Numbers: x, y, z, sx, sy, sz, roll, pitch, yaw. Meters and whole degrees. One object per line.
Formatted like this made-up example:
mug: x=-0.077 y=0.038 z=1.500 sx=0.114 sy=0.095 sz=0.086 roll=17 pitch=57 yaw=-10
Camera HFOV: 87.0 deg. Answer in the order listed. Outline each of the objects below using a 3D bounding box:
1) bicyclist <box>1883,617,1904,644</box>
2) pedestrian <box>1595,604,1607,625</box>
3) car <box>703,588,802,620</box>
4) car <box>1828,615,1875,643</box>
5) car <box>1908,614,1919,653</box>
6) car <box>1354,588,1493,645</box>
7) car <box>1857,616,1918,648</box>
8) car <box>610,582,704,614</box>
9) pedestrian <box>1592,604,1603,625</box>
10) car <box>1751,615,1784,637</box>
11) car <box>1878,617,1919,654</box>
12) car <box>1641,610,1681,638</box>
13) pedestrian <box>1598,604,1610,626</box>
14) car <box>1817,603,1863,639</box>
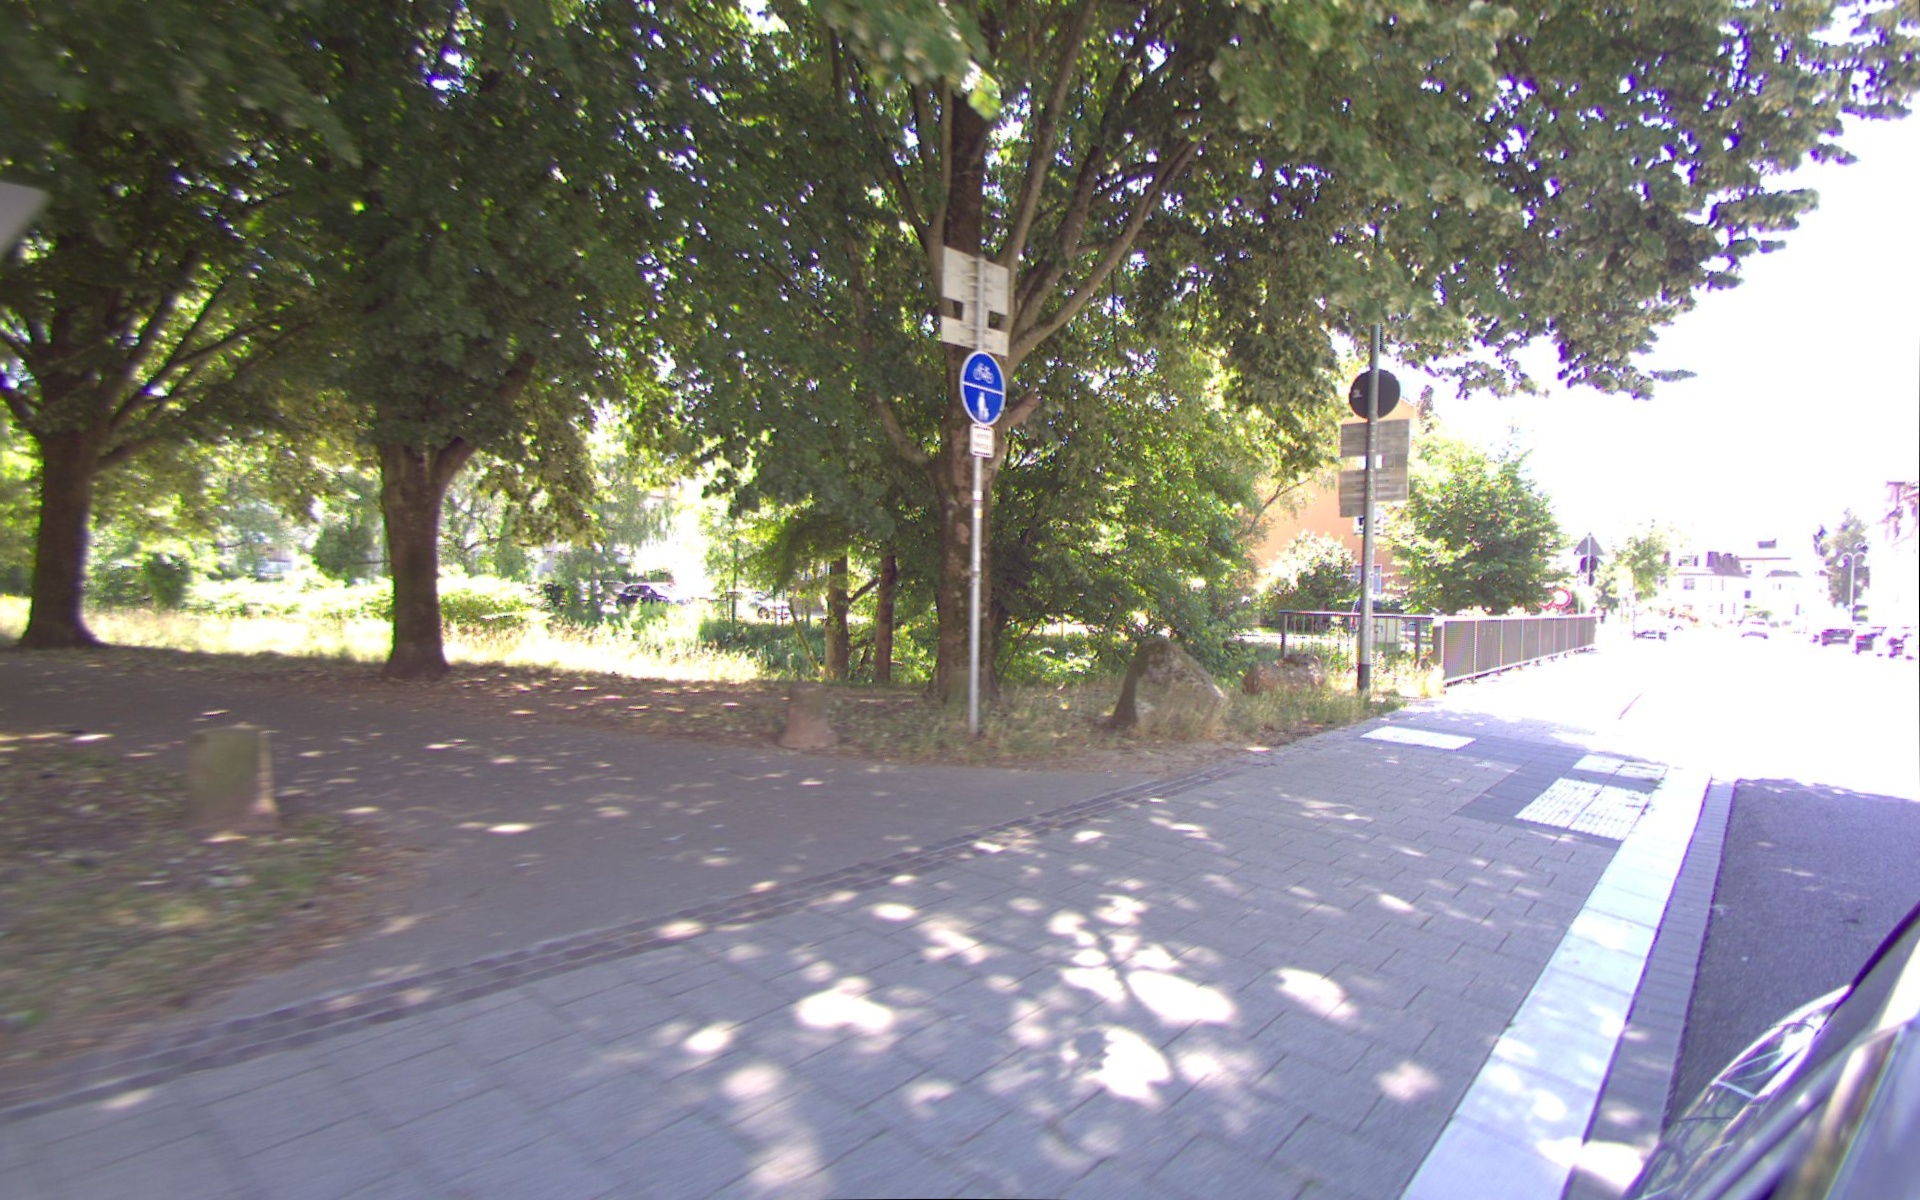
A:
bicyclist: x=59.036 y=1.909 z=64.000 sx=0.779 sy=1.680 sz=0.825 roll=2 pitch=0 yaw=33
pedestrian: x=58.176 y=1.345 z=91.838 sx=0.784 sy=1.833 sz=0.995 roll=4 pitch=2 yaw=31
car: x=-9.923 y=0.176 z=48.295 sx=4.470 sy=1.399 sz=1.891 roll=1 pitch=0 yaw=28
car: x=56.670 y=1.822 z=64.294 sx=2.085 sy=1.635 sz=5.027 roll=0 pitch=-1 yaw=44
car: x=37.649 y=1.283 z=38.308 sx=1.871 sy=1.499 sz=4.678 roll=-1 pitch=-2 yaw=35
car: x=16.013 y=0.535 z=35.051 sx=4.310 sy=1.862 sz=1.733 roll=0 pitch=0 yaw=28
car: x=44.037 y=1.511 z=48.137 sx=1.784 sy=1.478 sz=4.138 roll=-2 pitch=-2 yaw=38
car: x=-15.249 y=-0.092 z=50.902 sx=4.470 sy=1.549 sz=1.981 roll=0 pitch=-1 yaw=27
pedestrian: x=57.843 y=1.325 z=91.871 sx=0.790 sy=1.801 sz=0.997 roll=2 pitch=0 yaw=31
car: x=66.147 y=2.121 z=82.896 sx=1.873 sy=1.616 sz=4.301 roll=4 pitch=1 yaw=37
car: x=40.864 y=1.513 z=43.110 sx=1.857 sy=1.480 sz=5.240 roll=0 pitch=-2 yaw=34
car: x=42.692 y=1.425 z=61.684 sx=1.828 sy=1.522 sz=5.000 roll=4 pitch=2 yaw=34
pedestrian: x=56.782 y=1.323 z=89.225 sx=0.816 sy=1.877 sz=0.973 roll=2 pitch=-1 yaw=31
car: x=63.254 y=1.451 z=72.820 sx=2.114 sy=2.481 sz=6.033 roll=0 pitch=-1 yaw=38
